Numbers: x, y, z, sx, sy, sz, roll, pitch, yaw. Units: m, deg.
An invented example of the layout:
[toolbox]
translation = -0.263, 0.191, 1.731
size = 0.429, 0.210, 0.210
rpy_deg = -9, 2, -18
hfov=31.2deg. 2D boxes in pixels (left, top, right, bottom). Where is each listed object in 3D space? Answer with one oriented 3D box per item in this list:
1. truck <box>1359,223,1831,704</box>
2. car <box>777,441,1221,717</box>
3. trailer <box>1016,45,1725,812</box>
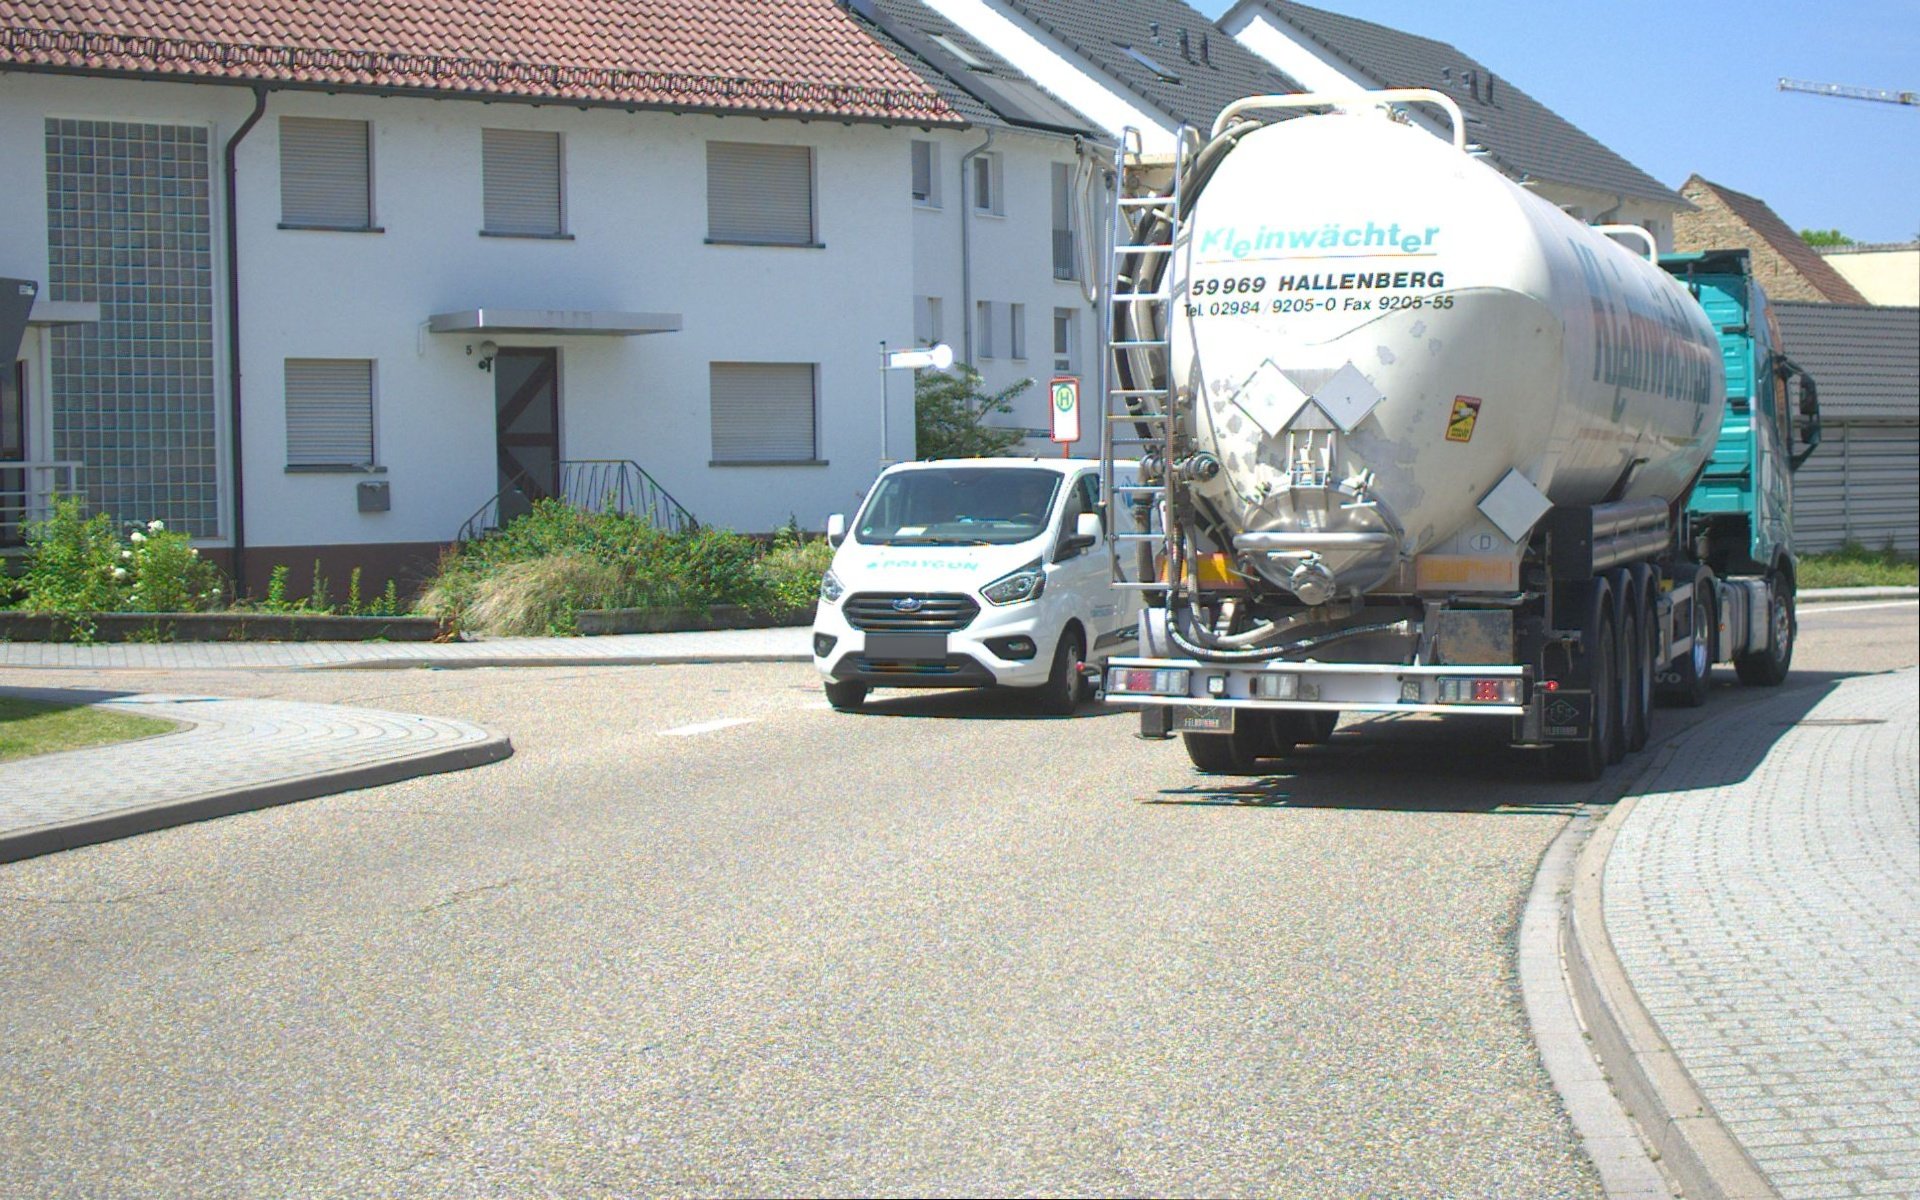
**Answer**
[truck]
translation = 5.930, -1.202, 31.378
size = 2.991, 3.951, 5.572
rpy_deg = 0, 2, 24
[car]
translation = 0.452, -0.255, 27.878
size = 1.995, 1.992, 5.209
rpy_deg = 2, 2, 19
[trailer]
translation = 3.352, -1.049, 23.644
size = 2.955, 3.934, 11.610
rpy_deg = 0, 2, 16
